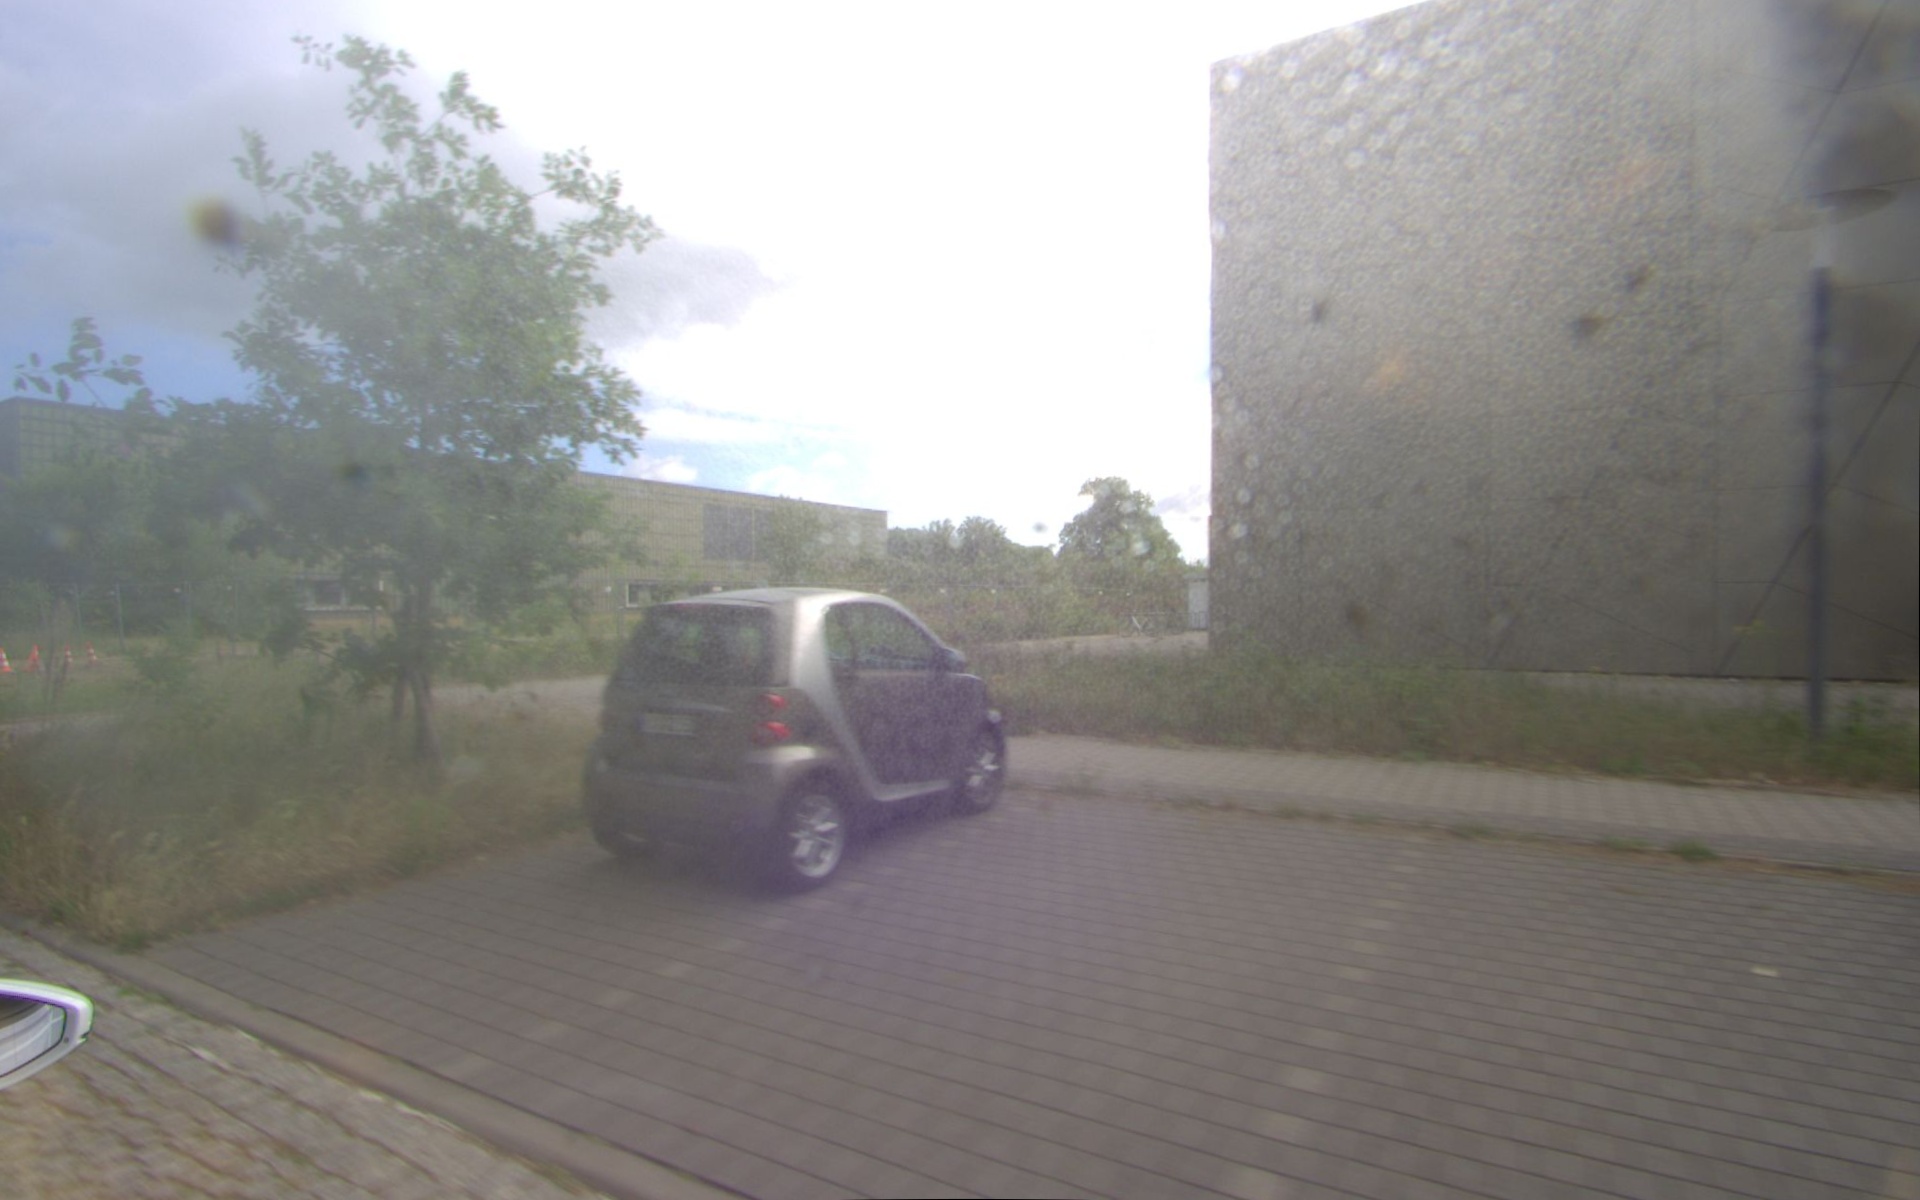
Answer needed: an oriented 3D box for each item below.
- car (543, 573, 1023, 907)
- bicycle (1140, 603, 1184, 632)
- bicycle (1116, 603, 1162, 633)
[{"bbox_3d":[-0.955,0.653,6.429,1.629,1.578,2.703,0,3,32],"label":"car"},{"bbox_3d":[7.787,0.664,38.619,1.637,1.100,0.508,0,1,41],"label":"bicycle"},{"bbox_3d":[6.555,0.645,36.722,1.637,1.100,0.508,0,1,41],"label":"bicycle"}]
